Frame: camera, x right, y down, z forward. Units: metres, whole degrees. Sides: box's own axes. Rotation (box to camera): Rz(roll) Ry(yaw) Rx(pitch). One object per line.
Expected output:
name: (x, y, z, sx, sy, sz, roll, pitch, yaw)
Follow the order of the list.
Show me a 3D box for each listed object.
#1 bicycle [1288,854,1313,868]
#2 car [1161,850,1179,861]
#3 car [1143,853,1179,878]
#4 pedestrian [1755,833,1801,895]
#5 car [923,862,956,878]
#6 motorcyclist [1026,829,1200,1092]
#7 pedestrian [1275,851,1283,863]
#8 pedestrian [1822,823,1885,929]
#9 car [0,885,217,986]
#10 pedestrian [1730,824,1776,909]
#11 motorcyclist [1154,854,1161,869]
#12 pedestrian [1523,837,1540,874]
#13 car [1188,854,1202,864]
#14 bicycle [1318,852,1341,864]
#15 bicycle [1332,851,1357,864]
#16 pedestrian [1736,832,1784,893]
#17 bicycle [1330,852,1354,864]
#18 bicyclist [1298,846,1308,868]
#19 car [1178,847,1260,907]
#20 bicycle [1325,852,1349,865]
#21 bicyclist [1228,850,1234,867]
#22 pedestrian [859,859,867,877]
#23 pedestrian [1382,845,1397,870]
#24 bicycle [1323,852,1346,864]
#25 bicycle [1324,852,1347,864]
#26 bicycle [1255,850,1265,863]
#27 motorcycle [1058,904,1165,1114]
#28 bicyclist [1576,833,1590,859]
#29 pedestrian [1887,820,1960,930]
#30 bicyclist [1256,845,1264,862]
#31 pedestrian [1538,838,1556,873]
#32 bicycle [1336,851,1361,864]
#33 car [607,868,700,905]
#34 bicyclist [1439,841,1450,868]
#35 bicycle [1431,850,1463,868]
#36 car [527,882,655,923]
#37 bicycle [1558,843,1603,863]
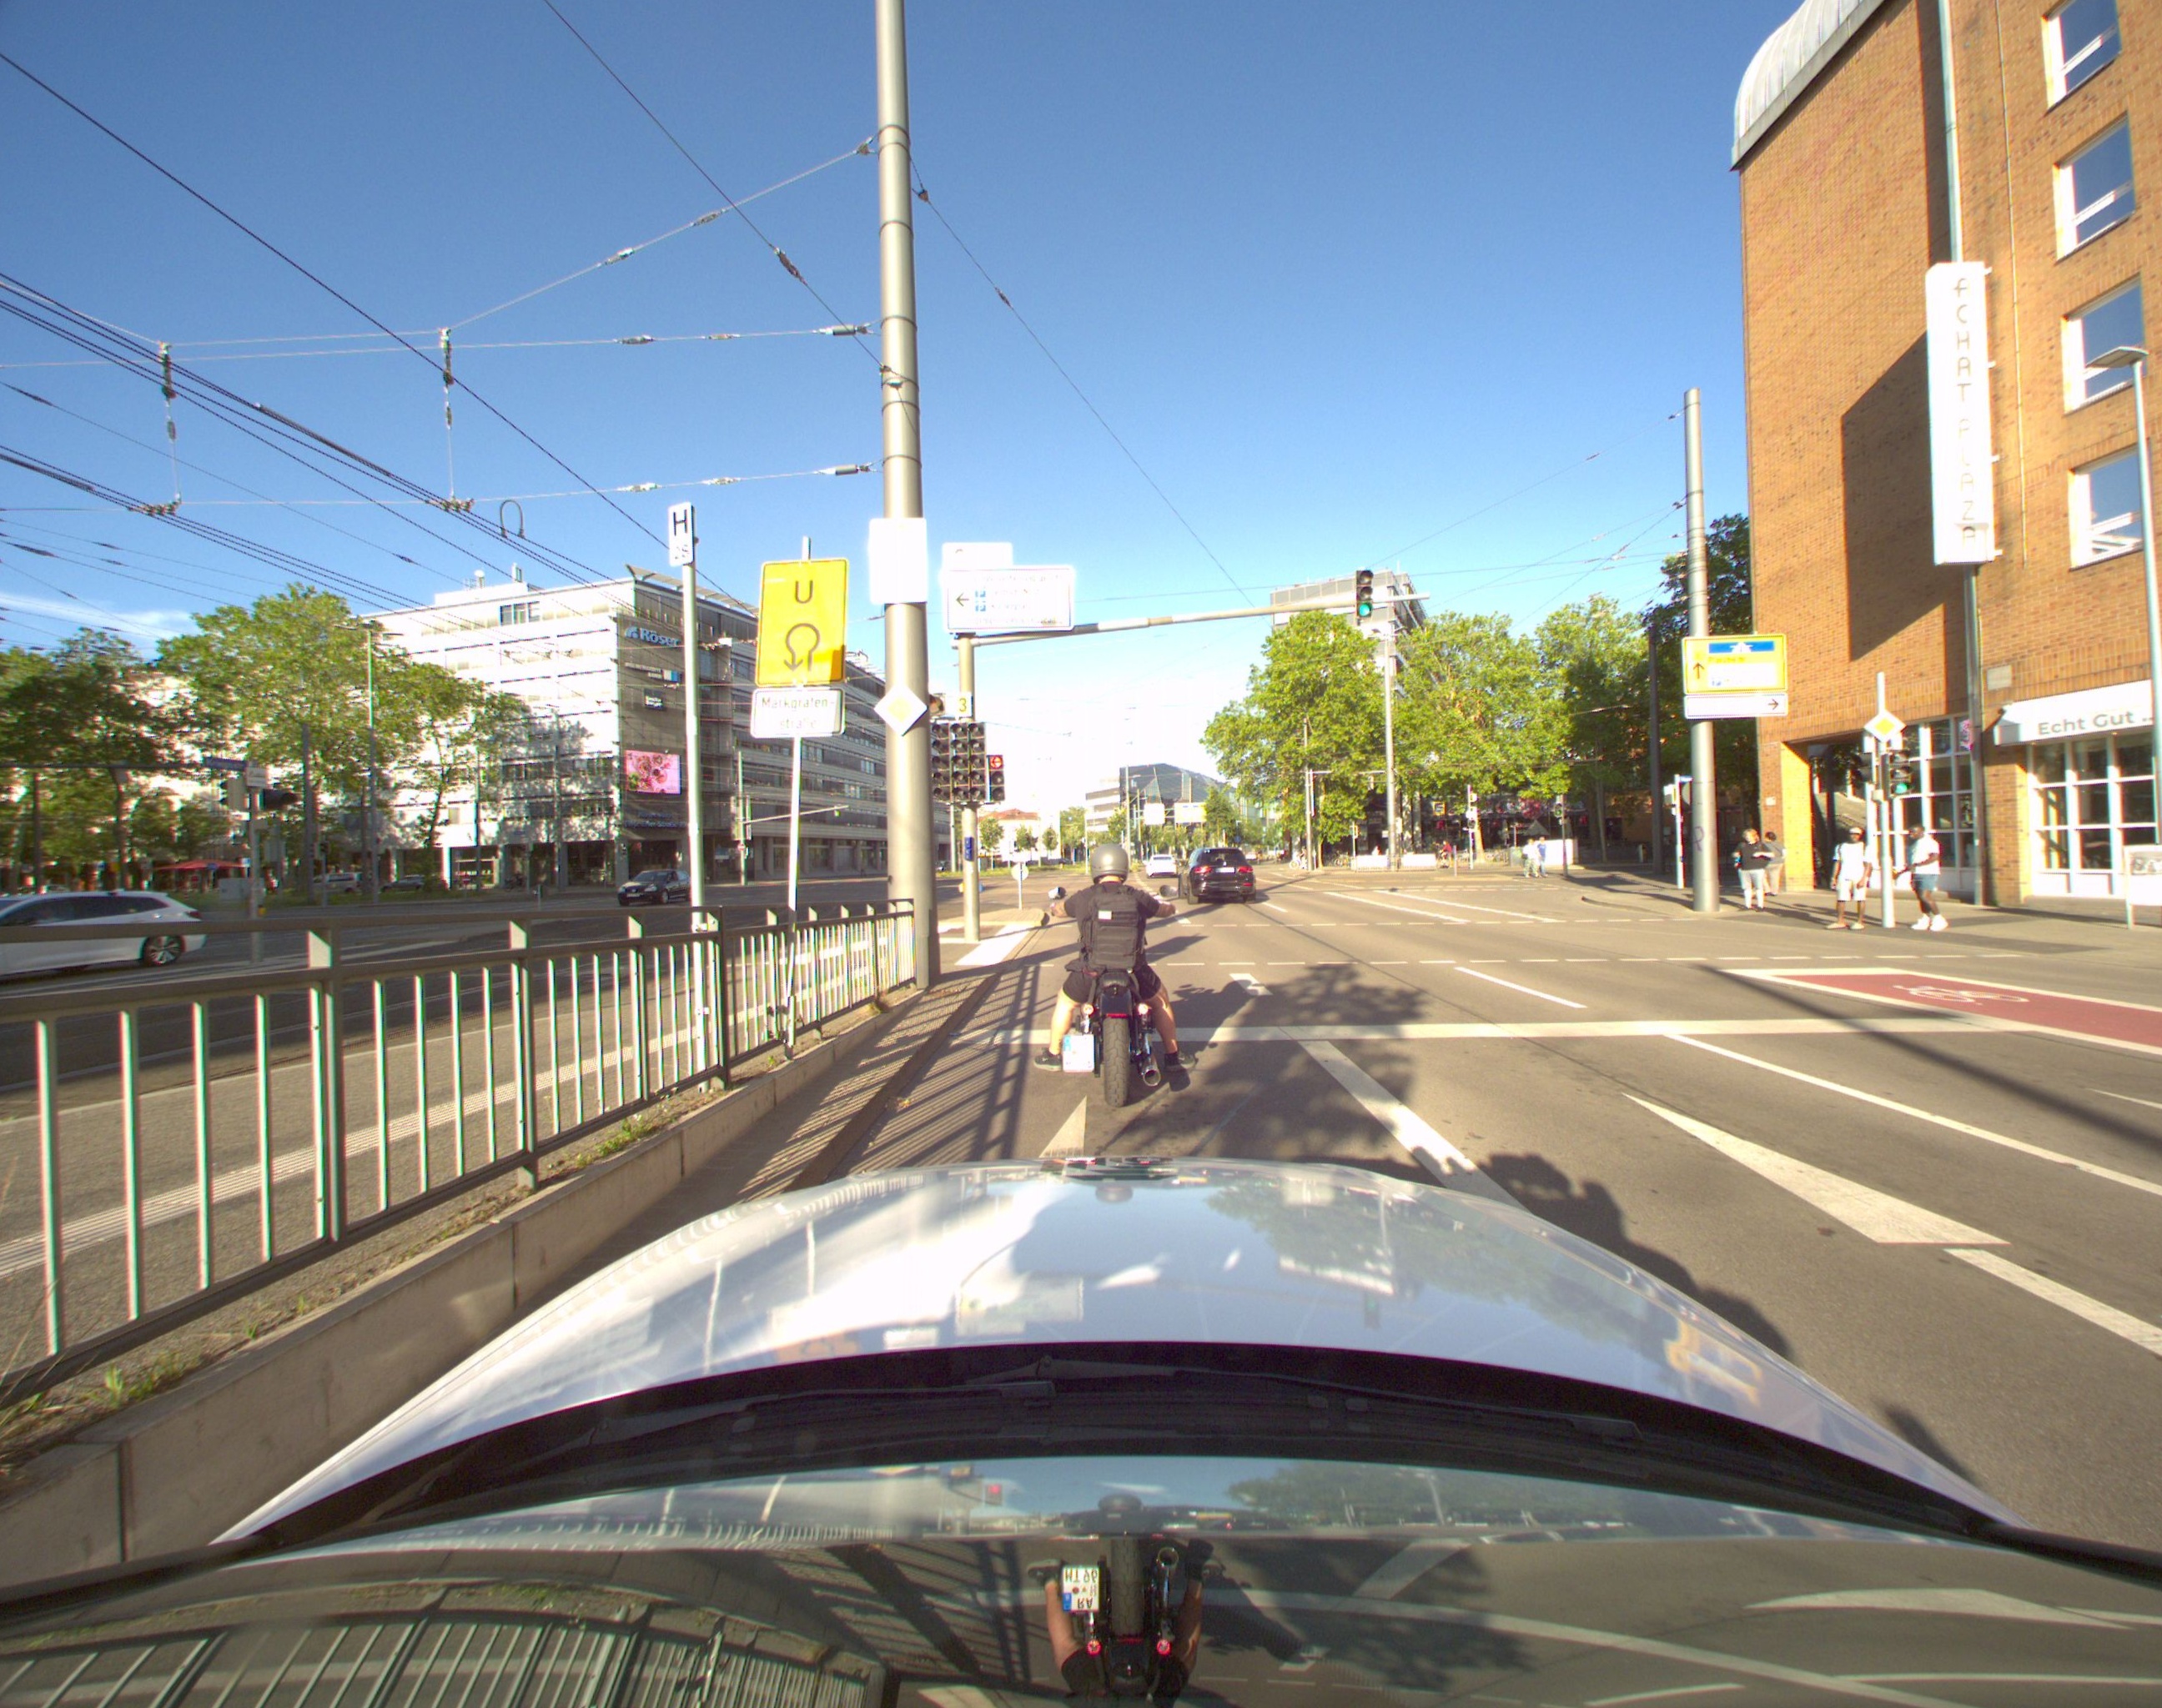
bicycle: (17.539, 0.567, 64.977, 1.854, 1.044, 0.540, -1, -1, 20)
car: (12.556, 0.245, 114.673, 1.790, 1.430, 4.470, -2, 0, 14)
car: (4.912, 0.660, 50.627, 1.797, 1.430, 4.453, -2, 0, 1)
pedestrian: (17.032, 0.235, 19.915, 0.590, 1.476, 0.552, -2, -1, 2)
car: (-13.753, 1.583, 79.563, 1.737, 1.524, 4.014, -1, -1, 13)
motorcyclist: (0.208, 0.656, 5.451, 1.027, 1.593, 0.874, -2, 0, 1)
pedestrian: (21.962, 0.282, 90.280, 0.814, 1.314, 0.640, -1, -1, 11)
pedestrian: (13.558, 0.378, 14.318, 0.586, 1.780, 0.686, -5, 0, 33)
car: (-17.725, 1.357, 13.603, 1.821, 1.430, 4.526, -2, 0, -2)
pedestrian: (14.562, 0.273, 17.651, 0.727, 1.792, 0.515, -1, -1, 42)
motorcyclist: (8.115, 0.759, 86.347, 0.792, 1.580, 0.530, 0, -1, 7)
pedestrian: (19.127, 0.065, 34.576, 0.561, 1.533, 0.706, -1, -1, 22)
car: (18.763, 0.826, 133.921, 1.790, 1.678, 4.055, 0, -1, 14)
bicycle: (21.480, 0.358, 70.294, 1.874, 1.046, 0.360, 0, 0, 1)
bicycle: (21.397, 0.308, 66.154, 1.874, 1.046, 0.360, 0, -1, 1)
pedestrian: (16.414, 0.207, 19.686, 0.590, 1.452, 0.601, -2, -1, 2)
bicycle: (21.465, 0.332, 66.968, 1.874, 1.046, 0.360, 0, -1, 1)
bicyclist: (17.715, 0.245, 64.908, 0.682, 1.673, 0.544, -2, -2, 21)
car: (4.037, 0.626, 24.458, 1.796, 1.595, 4.455, -2, 0, 2)
bicycle: (21.457, 0.359, 68.156, 1.874, 1.046, 0.360, 0, -1, 1)
bicyclist: (12.315, 0.394, 66.954, 0.380, 1.373, 0.344, 0, -1, -7)
pedestrian: (-24.579, 1.631, 91.787, 0.628, 2.014, 0.754, 0, -1, 2)
pedestrian: (21.773, 0.260, 57.471, 0.829, 1.704, 0.760, 0, -1, 2)
bicycle: (21.498, 0.352, 69.142, 1.874, 1.046, 0.360, 0, 0, 1)
bicycle: (21.445, 0.352, 68.643, 1.874, 1.046, 0.360, 0, 0, 1)
bicycle: (19.124, 0.299, 87.084, 0.722, 1.367, 2.922, 0, -1, 6)
motorcycle: (0.206, 0.943, 5.704, 0.598, 1.036, 2.235, 0, 0, 2)
bicyclist: (30.372, -0.479, 49.283, 0.625, 1.519, 0.570, -1, -1, 36)
pedestrian: (14.146, 0.343, 13.684, 0.682, 1.780, 0.589, -2, -1, -24)
bicyclist: (19.122, -0.044, 87.040, 0.693, 1.808, 0.730, 0, -1, 6)
pedestrian: (19.779, 0.075, 34.583, 0.561, 1.479, 0.706, -1, -1, 22)
bicycle: (21.463, 0.286, 65.371, 1.874, 1.046, 0.360, 0, -1, 1)
car: (-18.025, 1.344, 34.587, 1.821, 1.430, 4.237, 0, -1, -2)
bicyclist: (25.061, 0.043, 56.146, 0.582, 1.837, 0.403, 0, -1, 1)
bicycle: (25.220, 0.351, 56.132, 2.034, 1.214, 0.421, 0, -1, 2)
car: (-13.839, 1.358, 23.131, 2.884, 1.063, 1.235, 0, -1, -19)
bicycle: (30.248, -0.042, 49.355, 2.299, 1.178, 0.571, -1, -2, 34)
